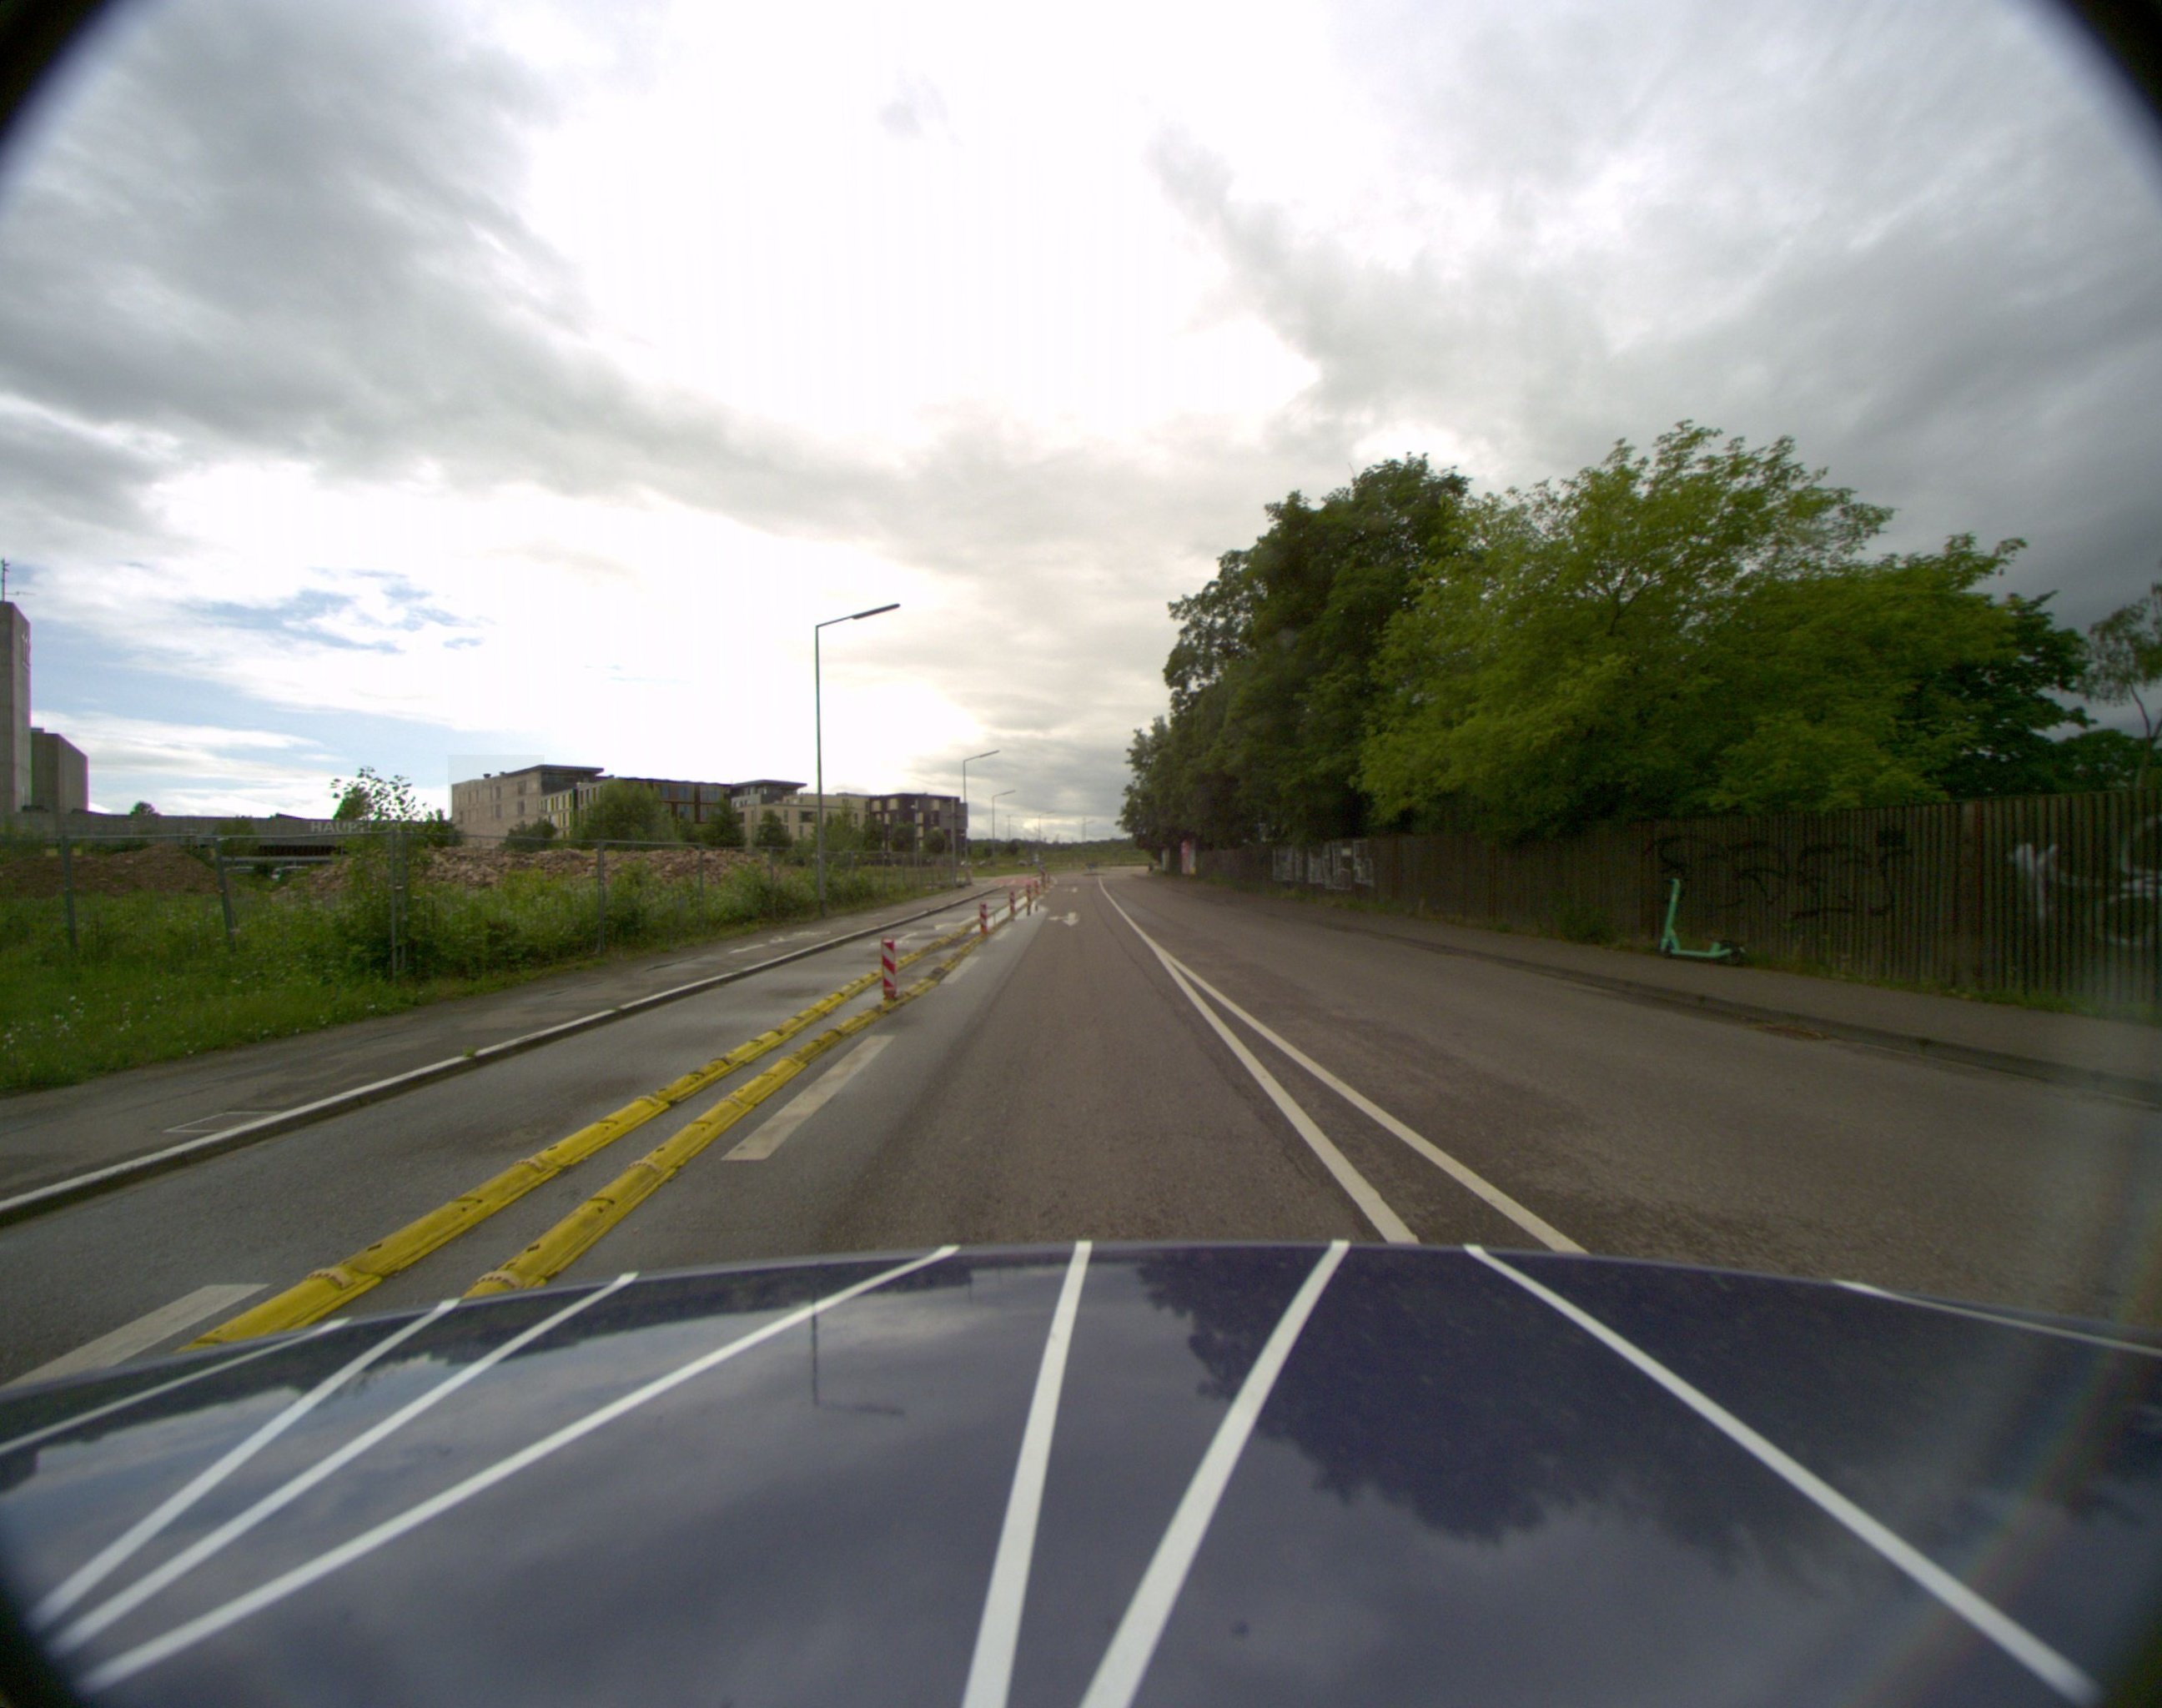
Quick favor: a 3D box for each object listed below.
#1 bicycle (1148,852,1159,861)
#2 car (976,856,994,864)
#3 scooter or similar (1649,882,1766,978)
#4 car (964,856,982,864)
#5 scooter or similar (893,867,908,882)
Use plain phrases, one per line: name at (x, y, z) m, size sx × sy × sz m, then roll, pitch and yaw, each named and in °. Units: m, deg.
bicycle at (8.446, 0.248, 87.978) m, size 0.583 × 0.992 × 1.773 m, roll -3°, pitch 0°, yaw 27°
car at (-23.146, 1.388, 183.617) m, size 1.994 × 2.002 × 4.009 m, roll 0°, pitch 0°, yaw 41°
scooter or similar at (8.448, 0.985, 10.296) m, size 0.424 × 1.164 × 1.303 m, roll -1°, pitch 0°, yaw -5°
car at (-26.870, 1.461, 189.257) m, size 1.994 × 2.002 × 4.009 m, roll 0°, pitch 0°, yaw 41°
scooter or similar at (-13.735, 1.560, 57.836) m, size 1.323 × 1.178 × 0.447 m, roll -1°, pitch 0°, yaw 41°
